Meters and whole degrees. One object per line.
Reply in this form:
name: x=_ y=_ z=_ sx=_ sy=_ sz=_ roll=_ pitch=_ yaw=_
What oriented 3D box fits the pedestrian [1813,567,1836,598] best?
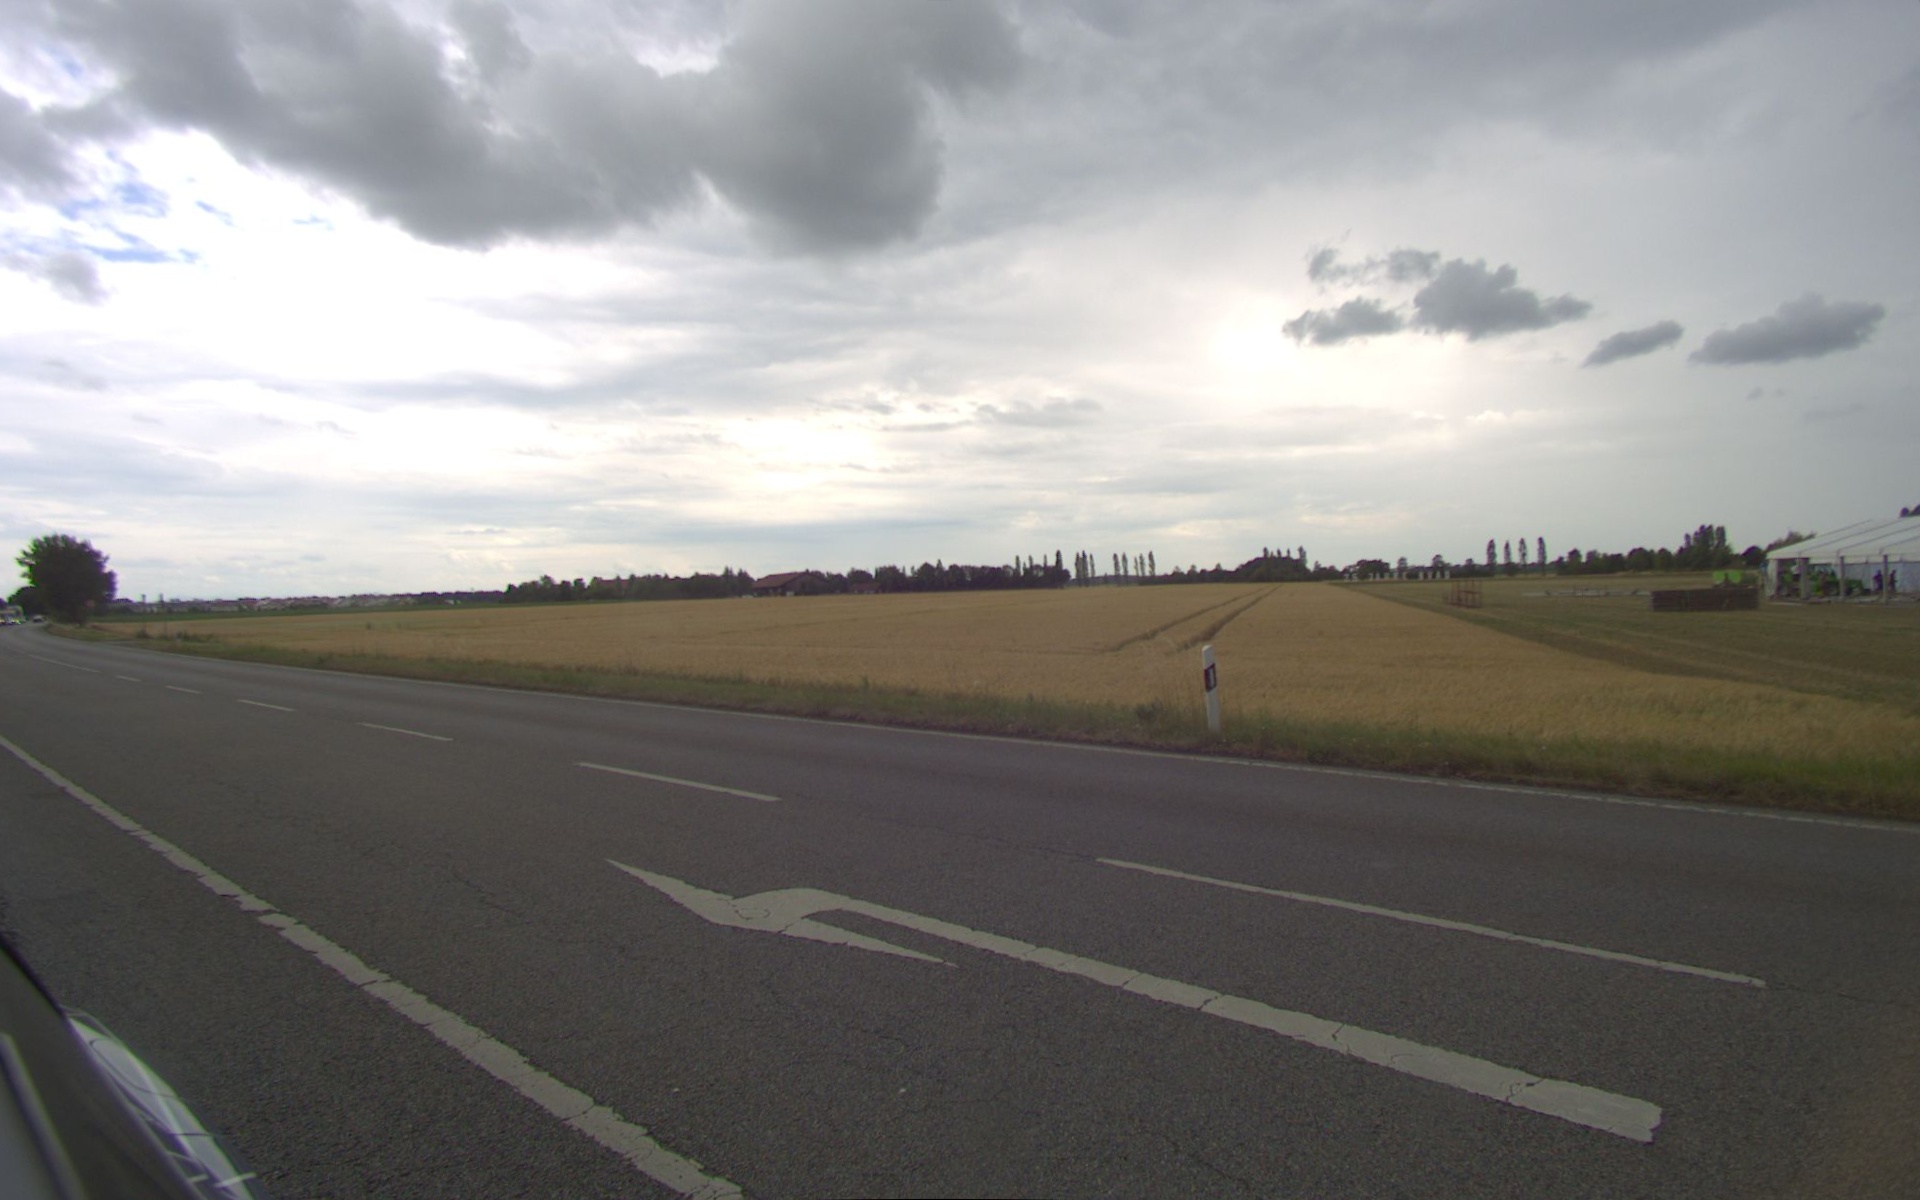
pedestrian: x=57.937 y=-1.191 z=67.825 sx=0.801 sy=2.029 sz=1.018 roll=-1 pitch=0 yaw=21

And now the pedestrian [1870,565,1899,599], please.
pedestrian: x=56.080 y=-1.056 z=61.371 sx=0.793 sy=2.029 sz=1.028 roll=-1 pitch=0 yaw=-20

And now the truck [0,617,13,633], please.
truck: x=-166.500 y=4.321 z=175.782 sx=2.285 sy=2.786 sz=7.686 roll=-2 pitch=0 yaw=-40

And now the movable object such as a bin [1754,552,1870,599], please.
movable object such as a bin: x=62.771 y=-1.834 z=74.874 sx=4.127 sy=3.201 sz=7.533 roll=-1 pitch=1 yaw=20
